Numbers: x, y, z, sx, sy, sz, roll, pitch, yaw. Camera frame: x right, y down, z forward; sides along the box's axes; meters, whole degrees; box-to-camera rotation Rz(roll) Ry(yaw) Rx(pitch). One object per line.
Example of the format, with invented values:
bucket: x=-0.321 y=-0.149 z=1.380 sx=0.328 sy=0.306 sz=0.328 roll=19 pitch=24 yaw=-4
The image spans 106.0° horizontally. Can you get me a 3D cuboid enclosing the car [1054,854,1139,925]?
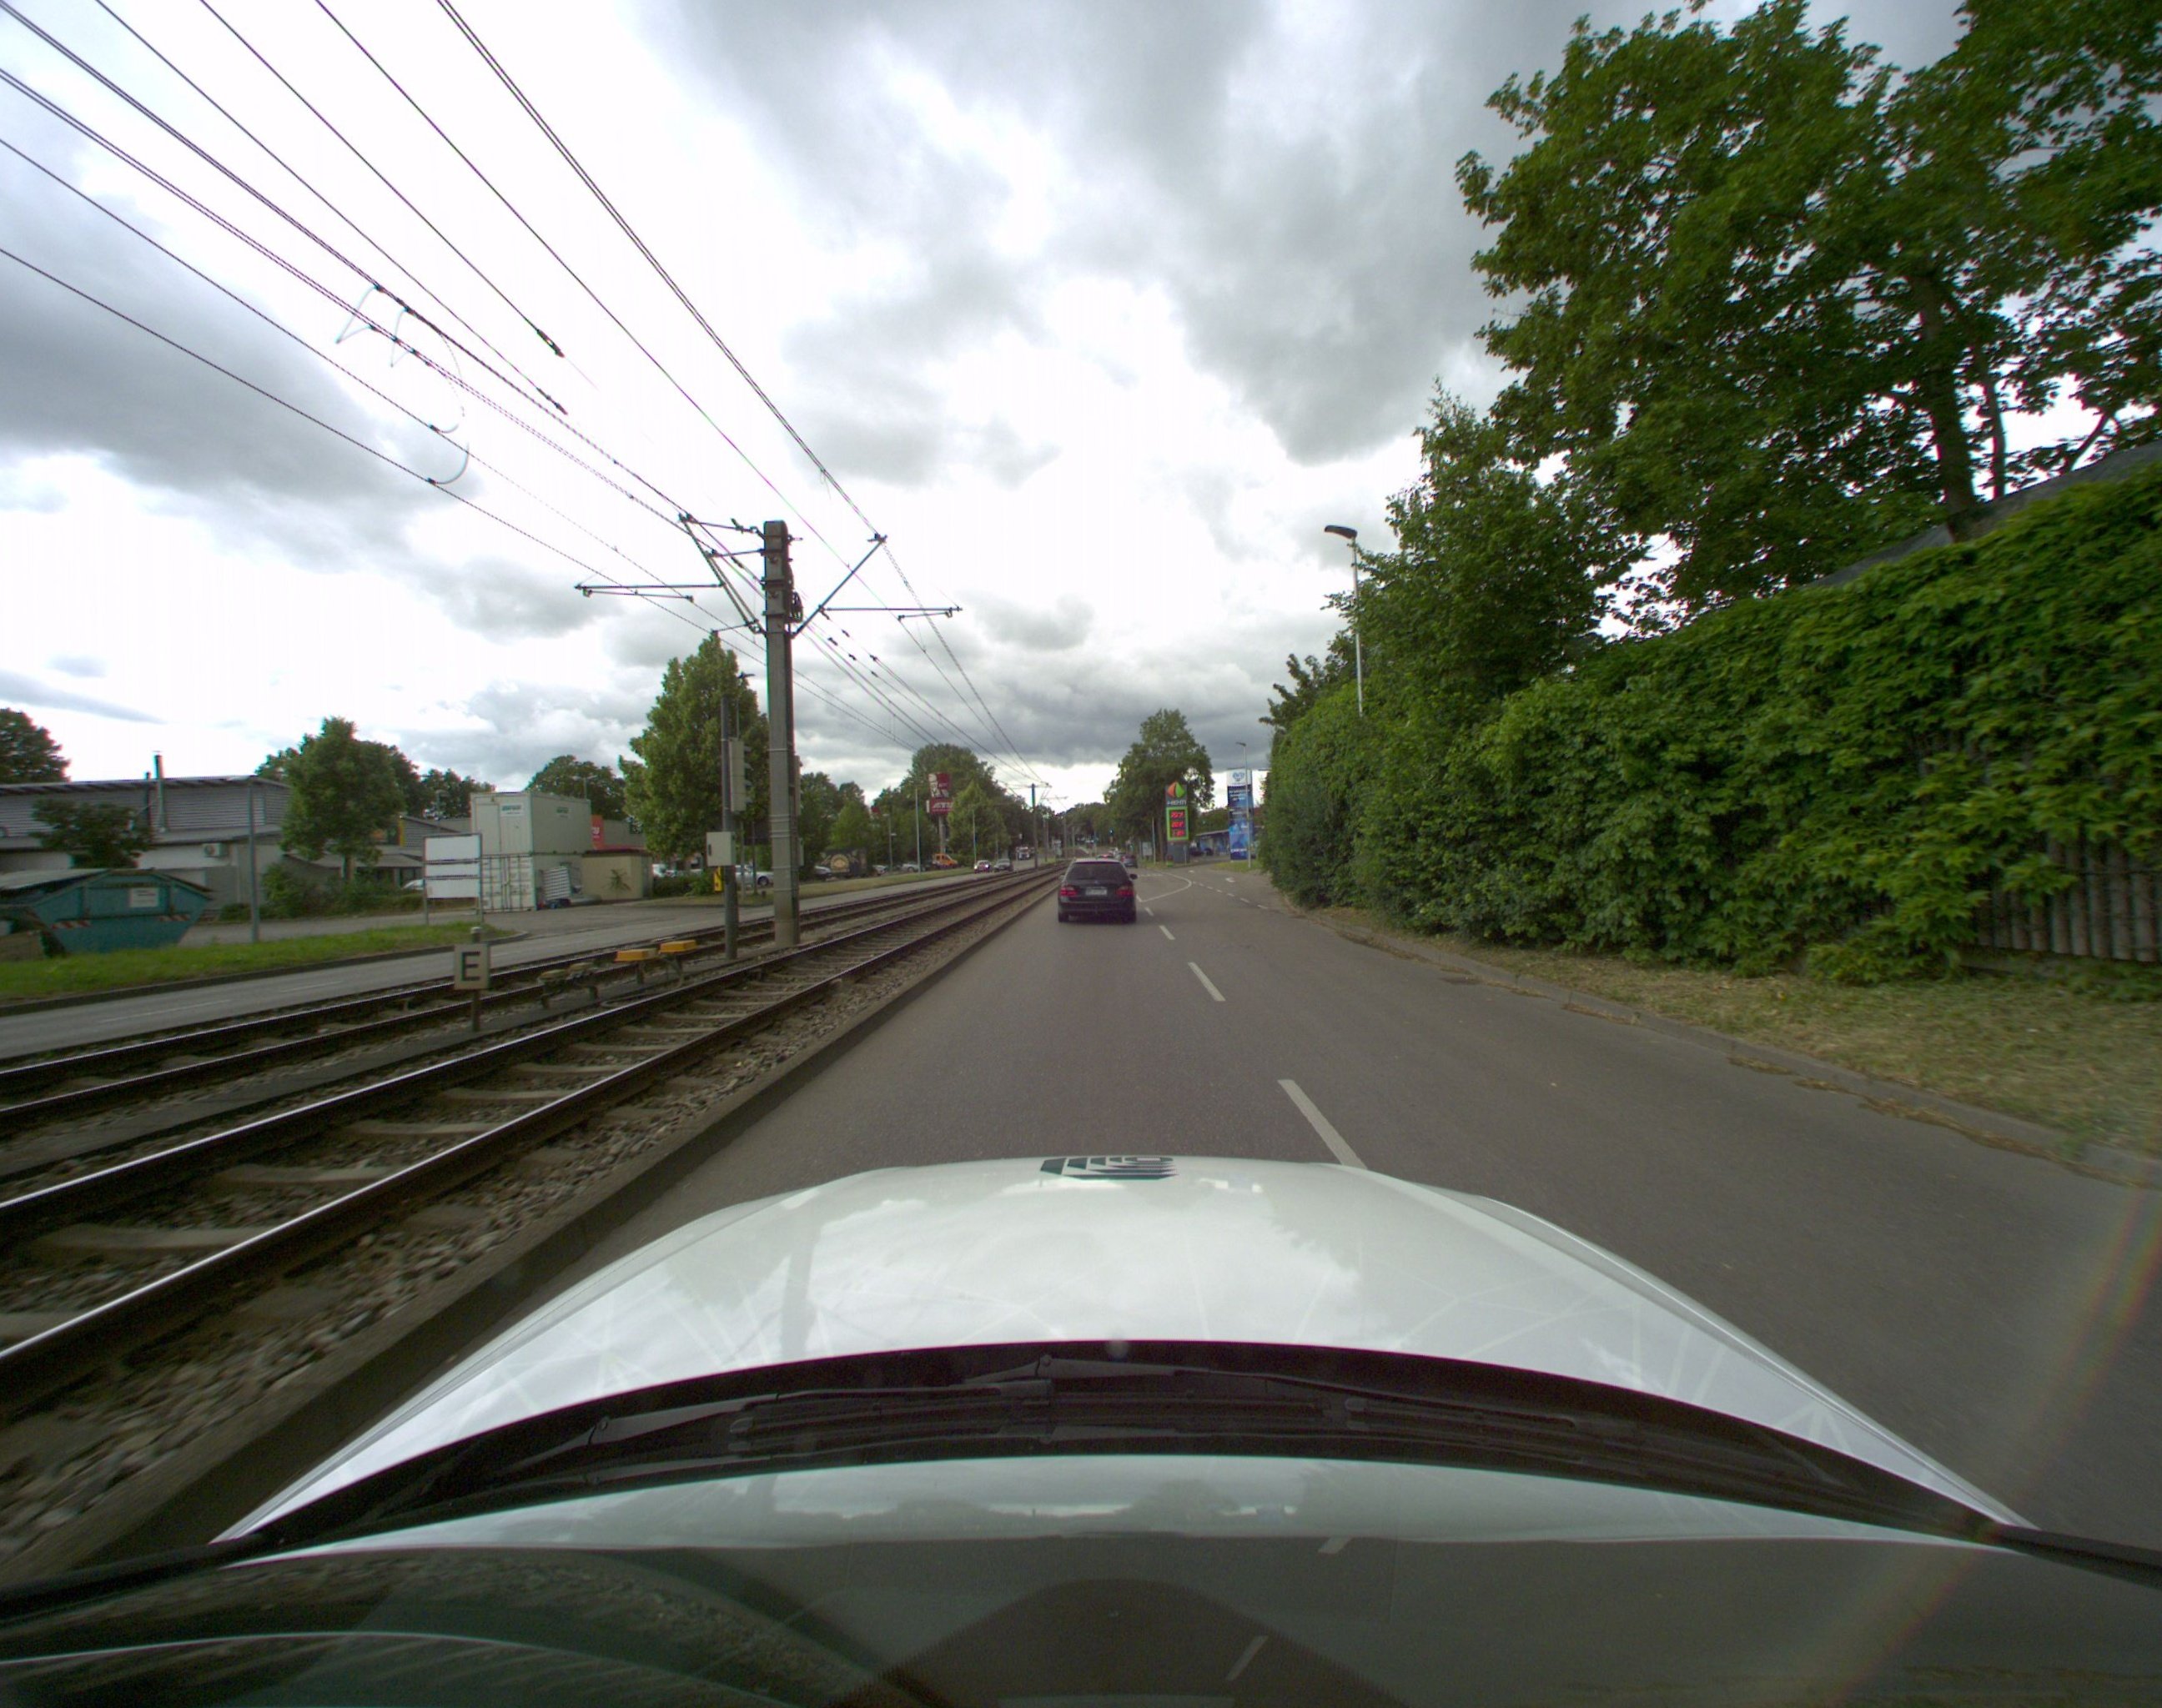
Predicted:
car: x=0.385 y=0.763 z=19.461 sx=1.802 sy=1.474 sz=3.882 roll=-1 pitch=0 yaw=2

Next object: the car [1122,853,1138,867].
car: x=5.220 y=0.651 z=87.426 sx=1.565 sy=1.414 sz=3.355 roll=0 pitch=-1 yaw=1

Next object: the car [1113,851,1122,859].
car: x=8.788 y=0.191 z=197.777 sx=1.986 sy=1.714 sz=4.001 roll=-2 pitch=0 yaw=1

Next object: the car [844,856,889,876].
car: x=-21.312 y=1.214 z=81.100 sx=3.978 sy=1.797 sz=1.876 roll=-3 pitch=0 yaw=-3

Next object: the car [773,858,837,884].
car: x=-21.172 y=1.278 z=62.601 sx=4.208 sy=1.727 sz=1.995 roll=-3 pitch=0 yaw=-1

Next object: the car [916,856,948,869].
car: x=-20.295 y=1.108 z=110.864 sx=3.978 sy=1.599 sz=1.876 roll=-3 pitch=0 yaw=-3

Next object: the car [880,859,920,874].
car: x=-21.106 y=1.463 z=95.070 sx=4.294 sy=1.472 sz=1.680 roll=-2 pitch=0 yaw=-1

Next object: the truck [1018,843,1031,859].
truck: x=-14.303 y=-0.684 z=205.985 sx=2.699 sy=3.663 sz=11.105 roll=-3 pitch=0 yaw=-1

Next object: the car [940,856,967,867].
car: x=-20.279 y=1.206 z=129.541 sx=3.978 sy=1.599 sz=1.794 roll=-3 pitch=0 yaw=-3

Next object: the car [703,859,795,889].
car: x=-21.611 y=1.302 z=53.178 sx=4.763 sy=1.628 sz=2.653 roll=-2 pitch=1 yaw=2

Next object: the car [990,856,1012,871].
car: x=-8.524 y=1.026 z=87.510 sx=1.753 sy=1.401 sz=4.444 roll=-5 pitch=0 yaw=1

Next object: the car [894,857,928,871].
car: x=-21.557 y=1.235 z=103.331 sx=3.978 sy=1.599 sz=1.876 roll=-3 pitch=0 yaw=-3

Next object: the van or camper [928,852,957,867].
van or camper: x=-20.537 y=0.865 z=120.873 sx=3.978 sy=2.135 sz=1.876 roll=-1 pitch=0 yaw=-3

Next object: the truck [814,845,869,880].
truck: x=-20.997 y=0.727 z=71.570 sx=3.976 sy=2.821 sz=2.375 roll=-3 pitch=0 yaw=-2

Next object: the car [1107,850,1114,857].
car: x=7.856 y=-0.212 z=217.116 sx=1.986 sy=1.838 sz=4.001 roll=-1 pitch=0 yaw=1

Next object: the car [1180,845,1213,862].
car: x=11.962 y=-0.057 z=84.376 sx=3.073 sy=1.599 sz=1.432 roll=-4 pitch=-2 yaw=20

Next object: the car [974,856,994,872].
car: x=-11.083 y=1.117 z=93.405 sx=1.786 sy=1.772 sz=3.999 roll=-2 pitch=0 yaw=0

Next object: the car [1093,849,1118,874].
car: x=1.748 y=0.523 z=58.684 sx=1.774 sy=1.750 sz=3.719 roll=0 pitch=-1 yaw=1

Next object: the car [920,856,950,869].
car: x=-20.779 y=1.227 z=116.023 sx=3.978 sy=1.797 sz=1.876 roll=-1 pitch=0 yaw=-3
